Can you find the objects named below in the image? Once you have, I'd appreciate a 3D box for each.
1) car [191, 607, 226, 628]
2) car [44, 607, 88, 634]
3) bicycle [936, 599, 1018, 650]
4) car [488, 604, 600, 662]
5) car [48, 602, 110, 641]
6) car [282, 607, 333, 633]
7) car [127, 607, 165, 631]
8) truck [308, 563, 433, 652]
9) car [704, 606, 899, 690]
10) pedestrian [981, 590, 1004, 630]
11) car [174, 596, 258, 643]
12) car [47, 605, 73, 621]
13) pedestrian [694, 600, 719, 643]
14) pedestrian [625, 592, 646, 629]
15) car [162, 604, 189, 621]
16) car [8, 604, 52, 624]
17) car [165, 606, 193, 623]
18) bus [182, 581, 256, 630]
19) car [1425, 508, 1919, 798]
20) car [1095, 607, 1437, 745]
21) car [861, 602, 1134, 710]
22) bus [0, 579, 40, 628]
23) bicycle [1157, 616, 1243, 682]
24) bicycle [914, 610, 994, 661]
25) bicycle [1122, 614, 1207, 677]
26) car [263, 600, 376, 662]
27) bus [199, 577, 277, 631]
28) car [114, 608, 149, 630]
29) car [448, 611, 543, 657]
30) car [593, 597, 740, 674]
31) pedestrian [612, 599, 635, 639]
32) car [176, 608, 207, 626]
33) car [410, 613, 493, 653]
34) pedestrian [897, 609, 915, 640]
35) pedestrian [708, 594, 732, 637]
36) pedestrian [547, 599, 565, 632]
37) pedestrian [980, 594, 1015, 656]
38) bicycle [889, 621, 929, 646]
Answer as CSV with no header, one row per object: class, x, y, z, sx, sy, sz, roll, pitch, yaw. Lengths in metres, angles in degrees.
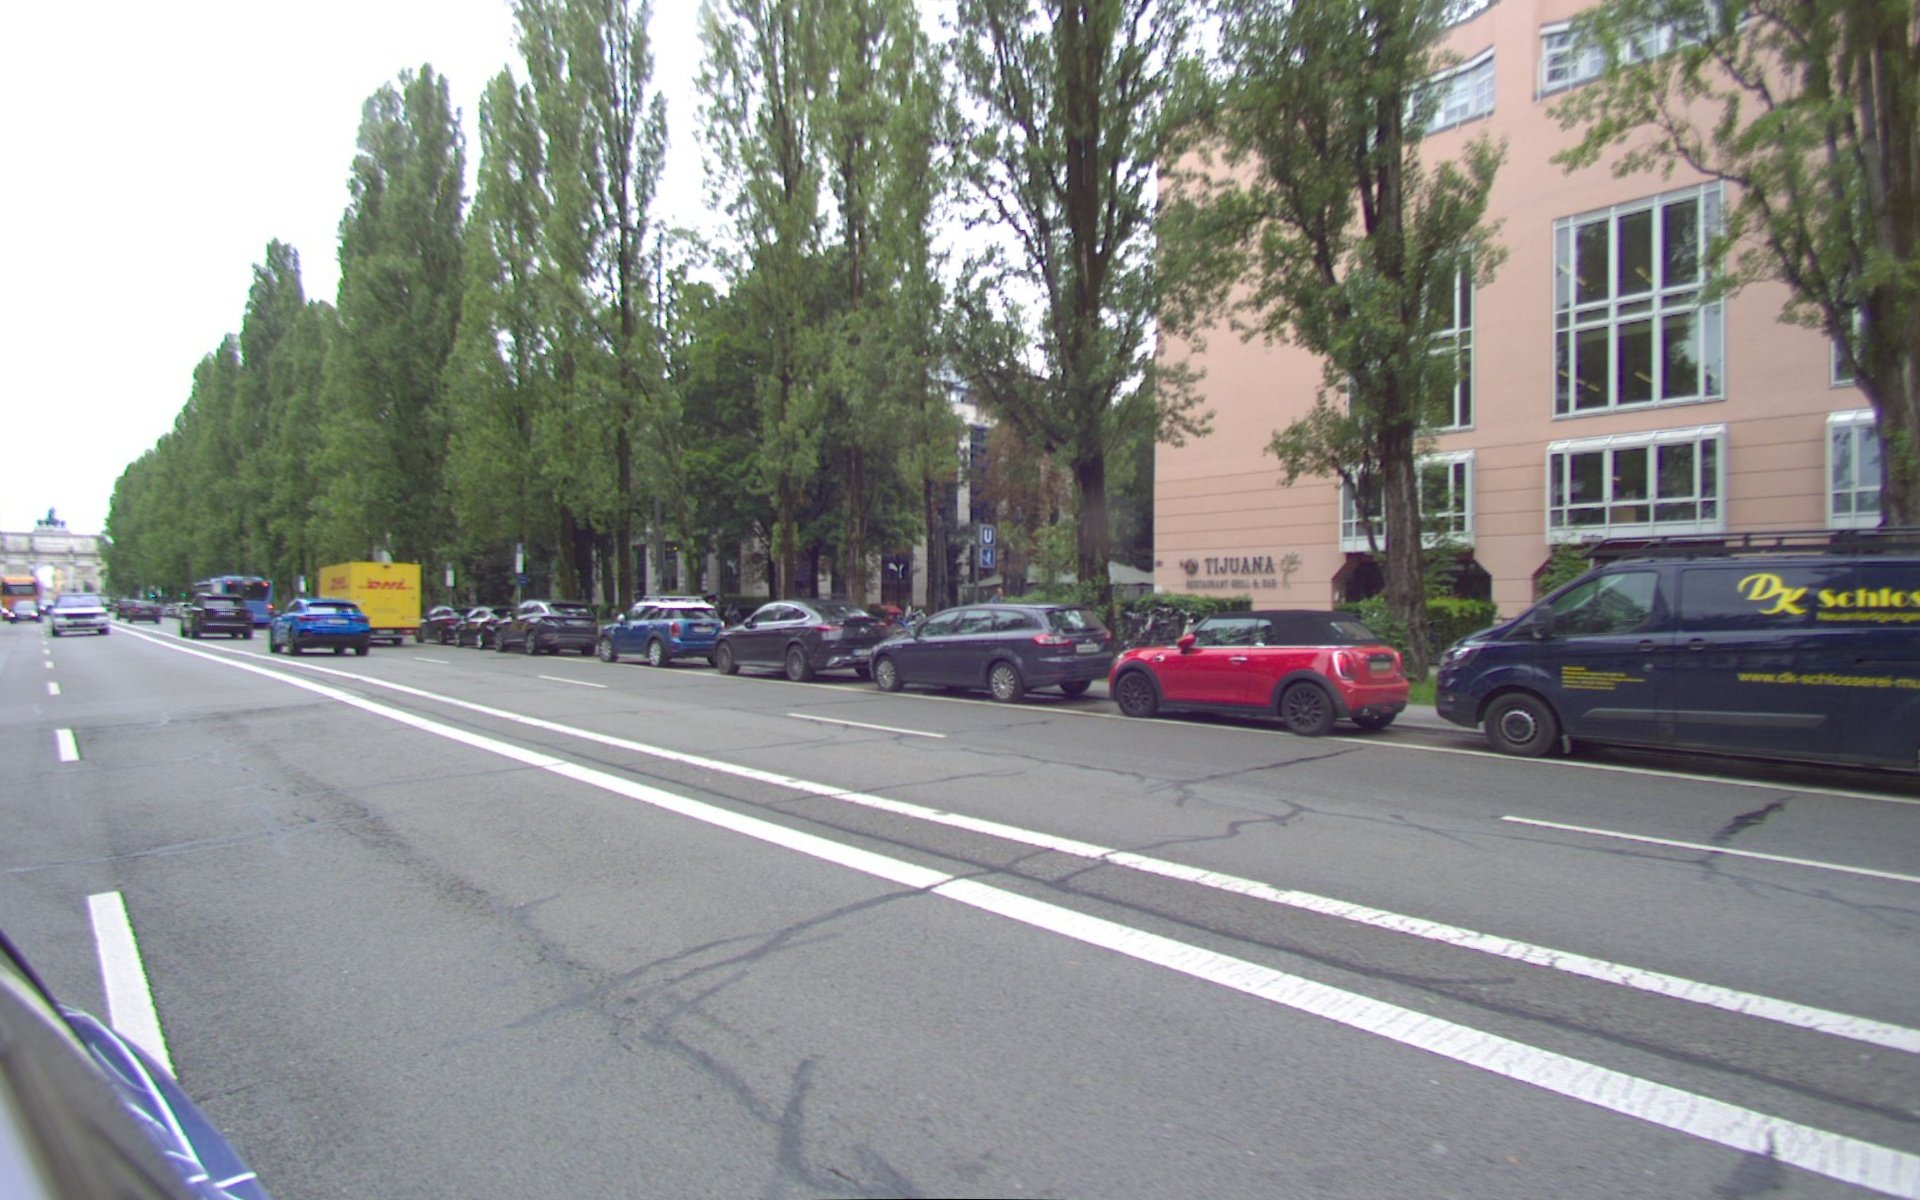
car,-63.176,1.464,85.076,1.969,1.735,4.125,2,-2,-42
car,-55.377,1.233,62.702,1.981,1.592,4.005,1,-1,-42
bicycle,0.410,0.544,23.208,1.959,1.133,0.677,0,-1,-43
car,-12.512,0.941,30.299,1.766,1.613,4.241,0,-1,-43
car,-38.688,0.908,44.397,1.982,1.592,4.005,-1,0,-42
car,-36.829,1.087,57.077,1.766,1.422,3.886,0,-1,-43
car,-55.355,1.284,68.763,1.820,1.538,3.757,2,-1,-41
truck,-21.600,0.265,36.885,2.561,2.929,7.089,1,-1,-42
car,-3.374,0.909,20.880,1.766,1.540,4.519,0,-1,-43
pedestrian,1.439,0.434,44.551,0.883,1.726,0.734,0,-1,13
car,-30.302,0.800,41.164,1.970,1.762,5.067,4,-4,-45
car,-94.703,1.379,106.500,1.981,1.592,4.005,0,-1,-42
pedestrian,-10.254,0.868,40.919,0.698,1.726,0.733,1,-1,-42
pedestrian,-15.380,0.476,47.919,0.698,1.726,0.733,1,-1,-42
car,-85.767,1.352,110.672,1.969,1.735,4.353,2,-2,-42
car,-65.503,0.973,71.297,3.994,1.407,1.628,-1,-1,38
car,-81.015,1.493,104.979,1.969,1.735,4.353,2,-2,-42
bus,-49.858,0.436,67.965,2.883,3.075,9.805,0,-1,-43
car,7.408,0.417,9.125,1.993,2.214,5.503,0,-1,-43
car,3.710,0.831,12.800,1.652,1.460,3.879,0,-1,-40
car,0.466,0.816,16.642,1.766,1.540,4.628,0,-1,-43
bus,-83.961,0.400,90.337,2.609,4.143,9.806,0,-1,-43
bicycle,4.380,0.868,18.419,1.715,1.133,0.677,0,-1,-43
bicycle,-0.124,0.813,23.777,1.959,1.133,0.677,0,-1,-43
bicycle,3.856,0.830,18.996,1.715,1.133,0.677,0,-1,-43
car,-17.899,0.828,28.179,1.843,1.591,4.427,2,-2,-43
bus,-44.183,0.317,61.841,2.882,3.075,8.527,0,-1,-42
car,-68.856,1.558,84.046,1.969,1.735,4.821,2,-2,-42
car,-15.459,1.086,33.583,1.766,1.422,3.886,0,-1,-43
car,-7.331,0.847,25.073,1.767,1.745,4.081,2,-2,-44
pedestrian,-14.770,0.820,44.430,0.698,1.726,0.733,1,-1,-42
car,-74.055,1.633,97.470,1.969,1.735,4.821,2,-2,-42
car,-19.047,1.190,37.839,1.766,1.422,3.886,0,-1,-43
pedestrian,-3.071,1.357,57.252,0.709,1.726,0.721,-1,-1,45
pedestrian,-9.849,0.632,41.465,0.698,1.726,0.733,1,-1,-42
pedestrian,-21.609,0.834,54.101,0.698,1.726,0.733,1,-1,-42
pedestrian,1.080,0.712,29.006,0.698,1.726,0.733,1,-1,-42
bicycle,-1.828,1.183,36.195,1.341,0.862,0.533,0,-1,-19
